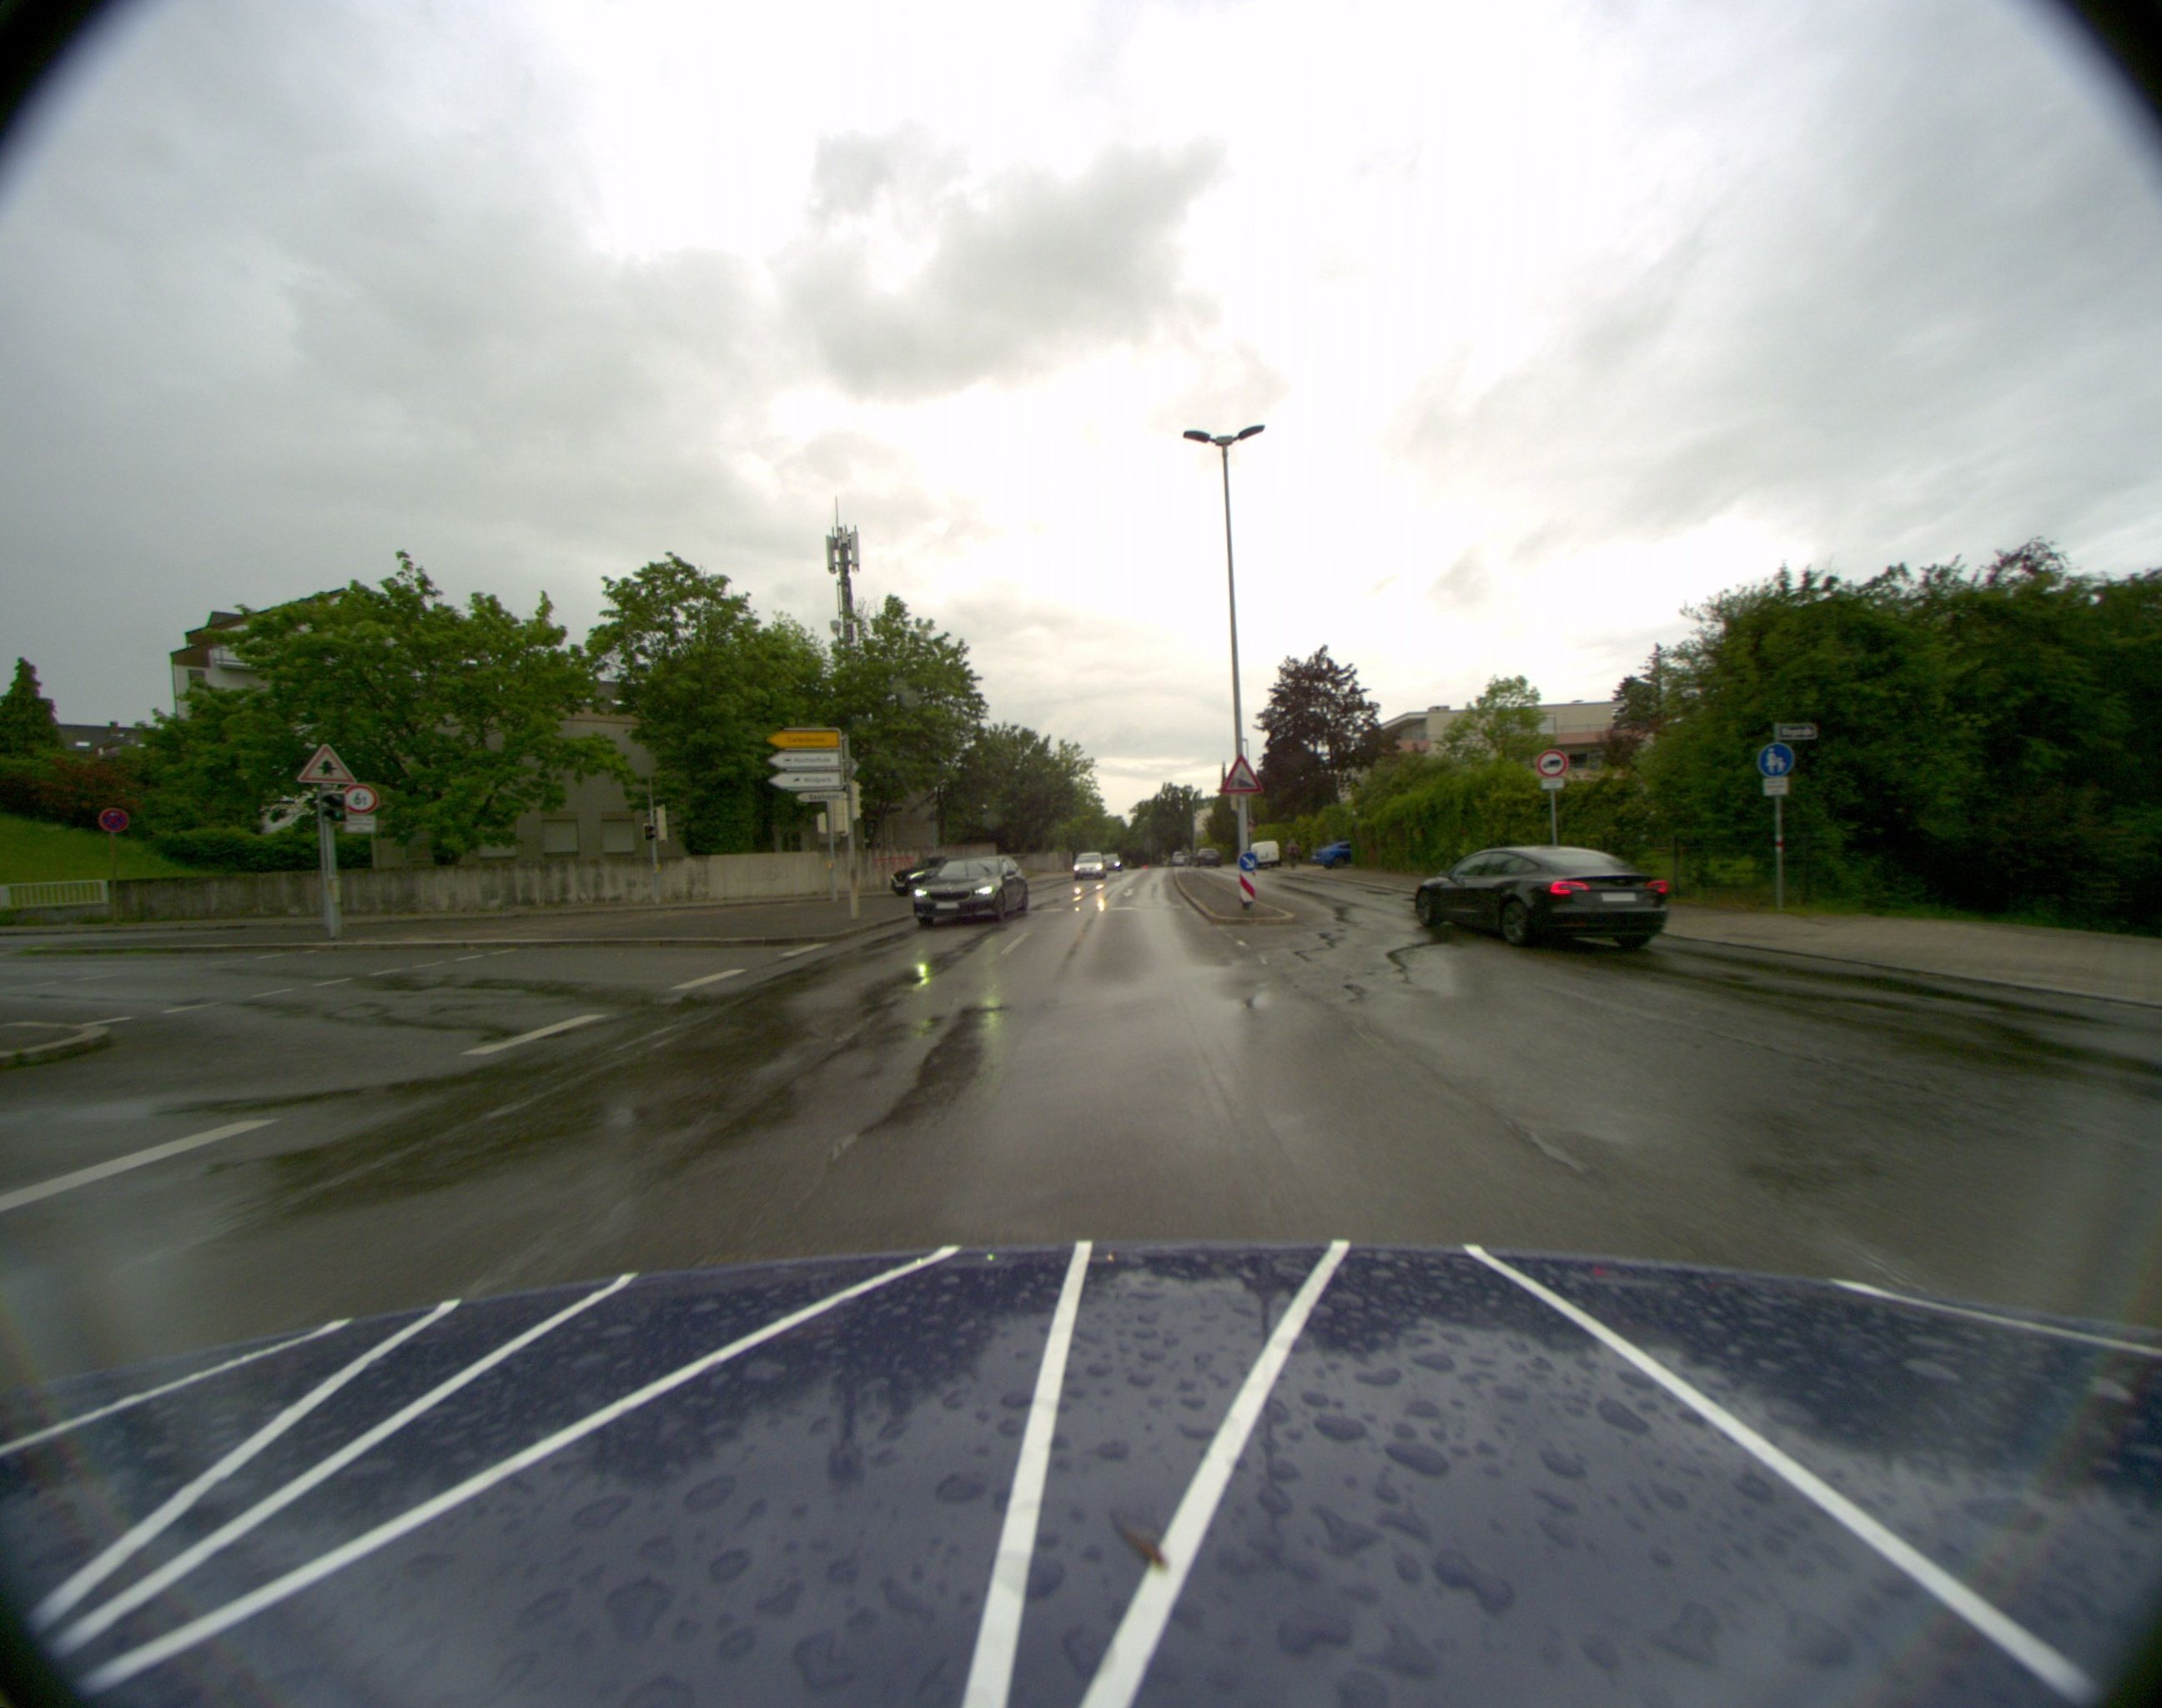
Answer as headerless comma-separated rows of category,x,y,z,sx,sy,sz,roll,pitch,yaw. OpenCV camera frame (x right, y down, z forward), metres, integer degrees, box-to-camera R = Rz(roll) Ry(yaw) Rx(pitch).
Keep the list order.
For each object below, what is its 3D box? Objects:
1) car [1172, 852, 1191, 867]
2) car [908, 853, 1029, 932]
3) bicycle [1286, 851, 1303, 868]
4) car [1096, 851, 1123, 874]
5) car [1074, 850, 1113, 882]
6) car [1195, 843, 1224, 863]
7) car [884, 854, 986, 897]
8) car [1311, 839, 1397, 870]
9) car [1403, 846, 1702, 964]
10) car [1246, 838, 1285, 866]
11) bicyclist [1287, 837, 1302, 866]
car,11.197,0.590,84.642,1.820,1.448,4.000,-2,1,4
car,-2.507,0.809,18.003,1.871,1.510,4.001,-2,1,6
bicycle,12.309,0.303,43.845,0.743,0.846,1.973,-2,1,12
car,2.303,0.633,60.680,1.998,1.647,4.226,-2,1,4
car,0.758,0.641,44.064,1.998,1.647,4.000,-2,1,4
car,10.007,-0.102,59.415,1.820,1.448,4.000,-2,1,4
car,-5.997,0.848,31.610,1.689,1.543,4.007,-1,2,37
car,14.375,0.013,40.196,3.888,1.448,1.768,-2,2,2
car,6.977,0.625,11.944,1.869,1.468,4.445,-1,1,-1
car,12.370,-0.150,51.236,1.820,1.707,4.000,-2,1,4
bicyclist,12.270,-0.139,43.721,0.743,1.637,0.778,-2,1,11
